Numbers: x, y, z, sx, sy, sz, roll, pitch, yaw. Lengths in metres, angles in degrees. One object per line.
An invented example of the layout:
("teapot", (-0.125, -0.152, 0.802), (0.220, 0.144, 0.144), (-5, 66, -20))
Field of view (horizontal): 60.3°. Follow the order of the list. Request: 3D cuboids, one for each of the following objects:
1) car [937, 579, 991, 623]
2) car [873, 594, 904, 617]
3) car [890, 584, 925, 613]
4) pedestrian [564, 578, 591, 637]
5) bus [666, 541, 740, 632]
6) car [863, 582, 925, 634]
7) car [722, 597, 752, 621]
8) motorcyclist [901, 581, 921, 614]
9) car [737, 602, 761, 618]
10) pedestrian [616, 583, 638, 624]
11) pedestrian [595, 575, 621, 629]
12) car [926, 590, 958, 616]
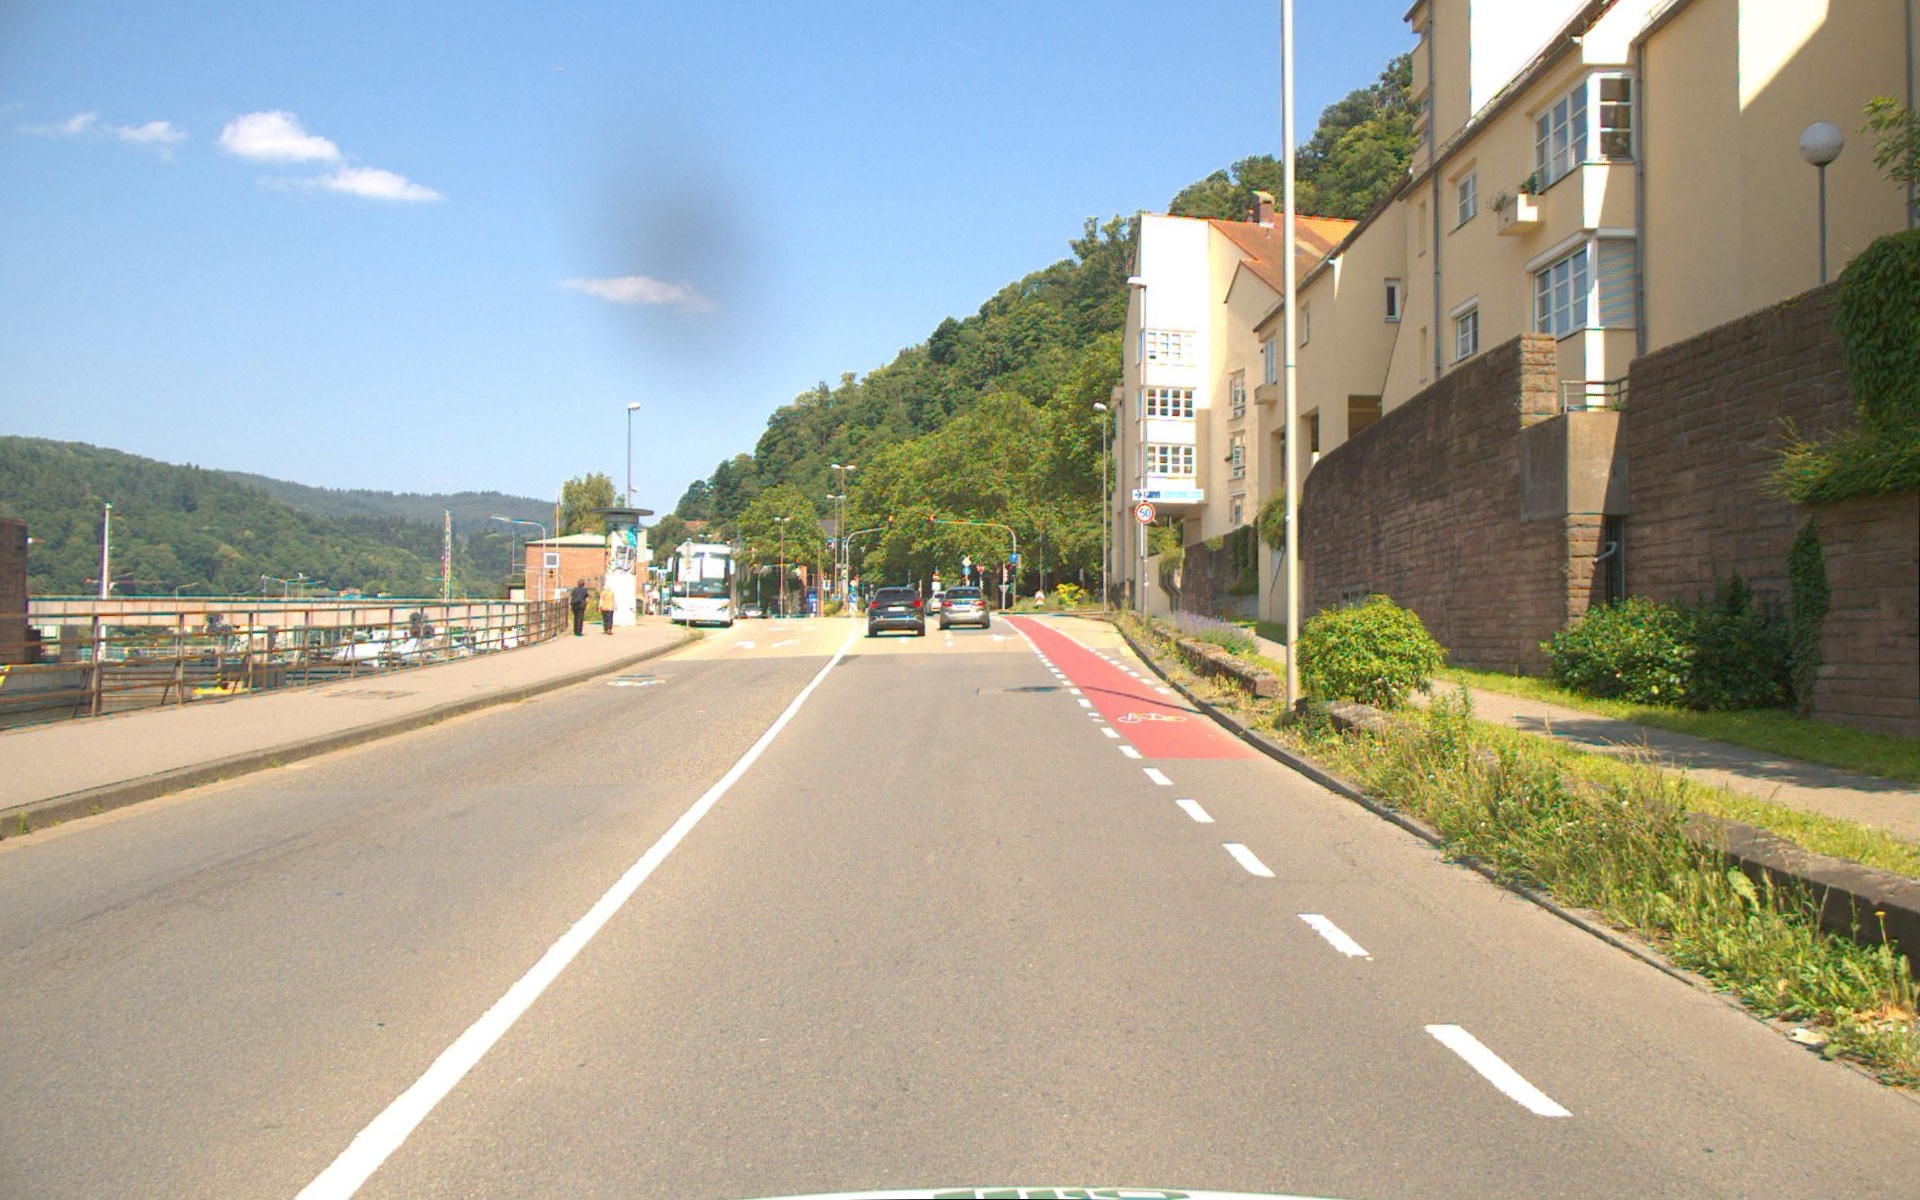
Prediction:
("car", (0.120, 0.060, 60.970), (1.850, 1.548, 4.304), (1, 0, -2))
("car", (-4.470, 0.325, 102.920), (1.830, 1.382, 3.997), (-1, 0, -4))
("car", (-3.003, -0.071, 94.339), (1.830, 1.589, 3.997), (-1, 0, -4))
("pedestrian", (-11.430, 0.223, 49.444), (0.669, 1.739, 0.773), (0, -1, -2))
("bus", (-11.849, -0.546, 77.199), (2.900, 3.867, 13.224), (0, 0, -7))
("car", (-2.043, 0.262, 51.887), (1.831, 1.540, 4.149), (1, 0, -2))
("car", (-24.556, 0.974, 181.829), (2.345, 2.621, 6.029), (-2, 0, -16))
("motorcyclist", (-2.628, -0.144, 88.870), (1.054, 1.714, 1.155), (-1, 0, -3))
("car", (-20.318, 0.914, 159.119), (1.958, 1.457, 4.156), (-1, 0, -11))
("pedestrian", (-14.693, 0.159, 72.969), (0.875, 1.827, 1.039), (0, -1, -8))
("pedestrian", (-10.871, 0.056, 51.119), (0.689, 1.649, 0.816), (0, -1, -6))
("car", (-1.160, 0.176, 103.212), (1.750, 1.559, 4.734), (-1, 0, -3))
